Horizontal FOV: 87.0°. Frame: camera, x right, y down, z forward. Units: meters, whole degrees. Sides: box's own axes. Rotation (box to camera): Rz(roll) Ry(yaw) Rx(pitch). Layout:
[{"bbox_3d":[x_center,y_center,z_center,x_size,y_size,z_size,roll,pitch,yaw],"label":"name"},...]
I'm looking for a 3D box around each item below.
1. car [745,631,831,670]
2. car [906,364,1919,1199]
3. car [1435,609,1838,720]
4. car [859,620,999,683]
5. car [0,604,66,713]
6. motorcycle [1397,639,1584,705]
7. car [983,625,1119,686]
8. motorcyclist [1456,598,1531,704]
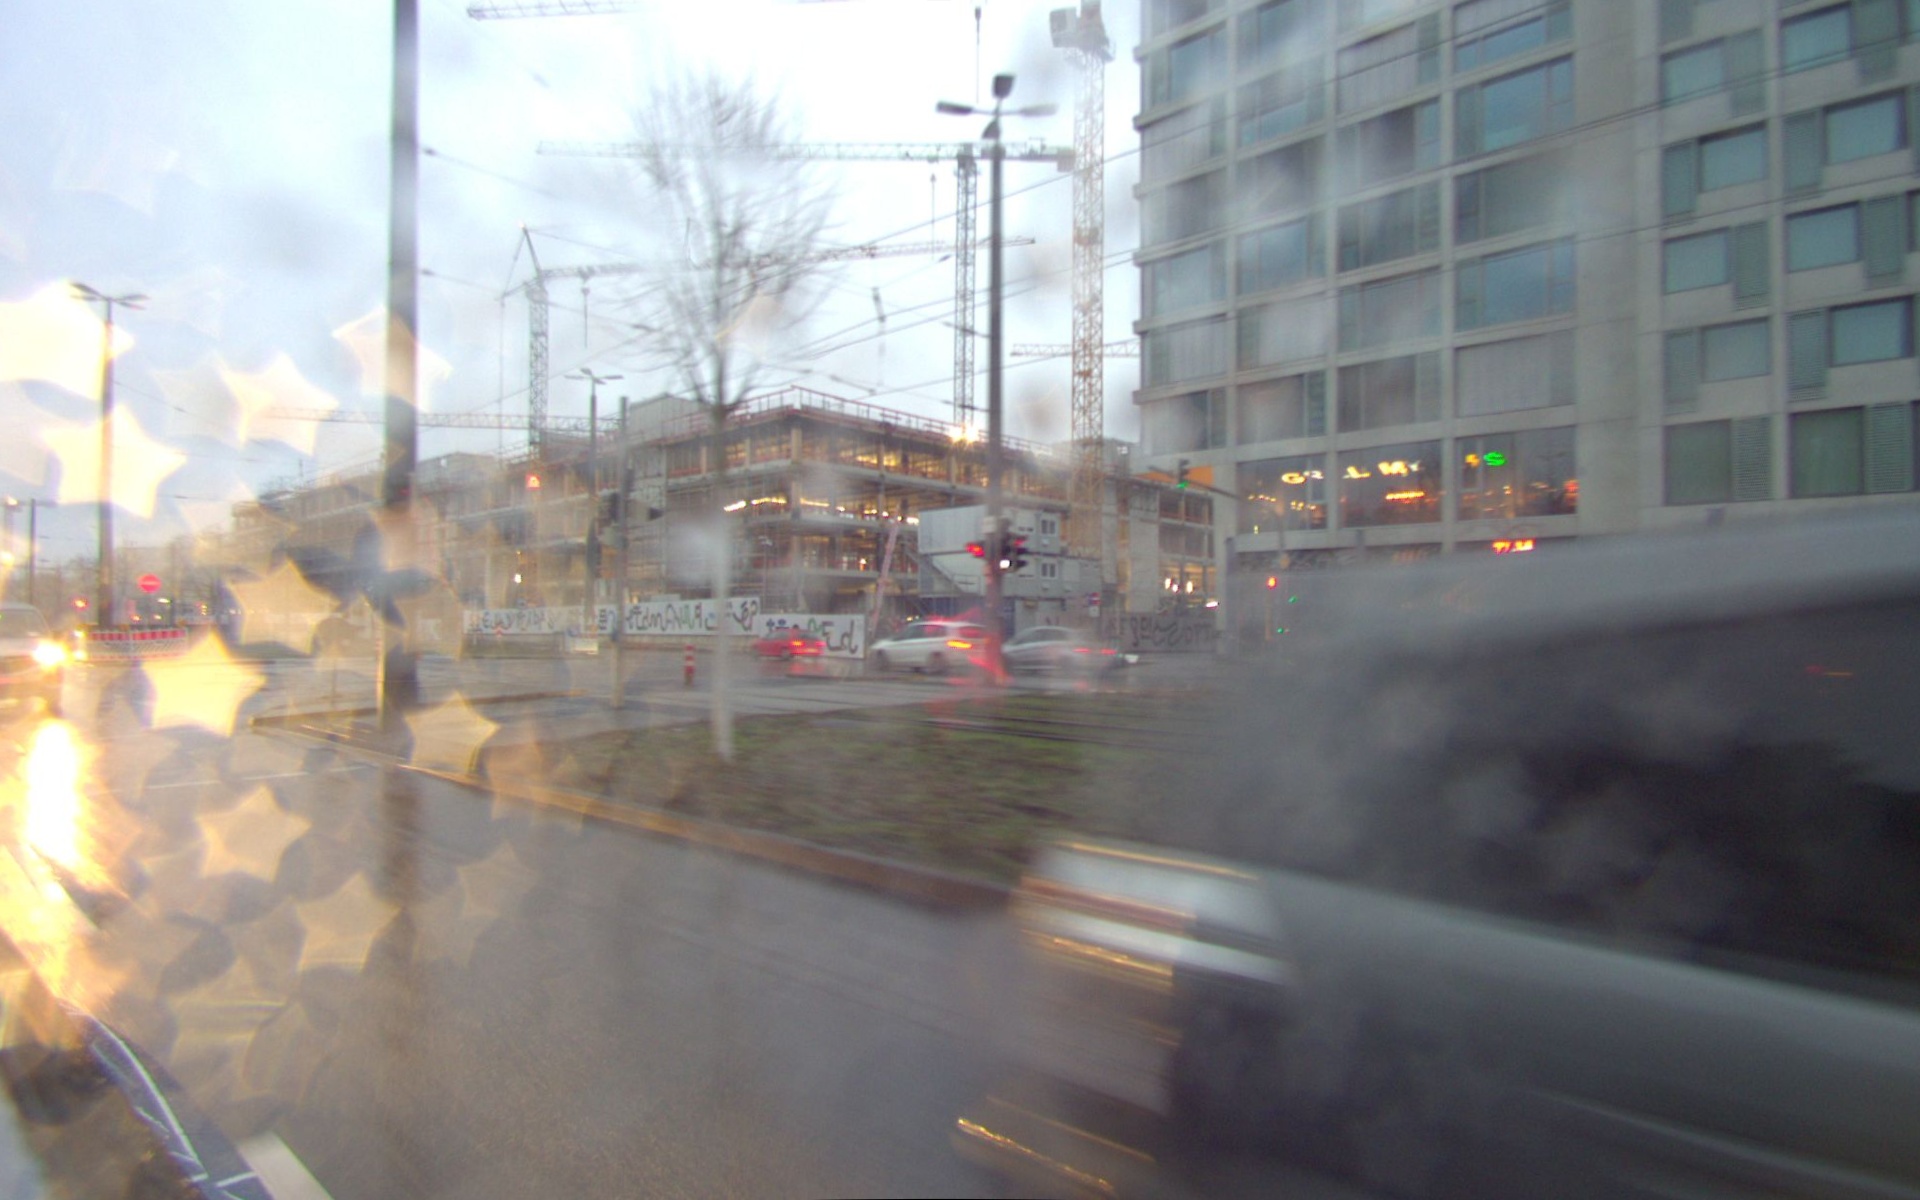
[{"bbox_3d":[-7.690,2.211,44.946,1.859,1.586,4.004,0,-1,-43],"label":"car"},{"bbox_3d":[1.996,0.608,0.811,3.998,1.606,1.741,-1,-1,41],"label":"car"},{"bbox_3d":[10.550,0.916,16.073,5.093,1.473,1.973,-1,-1,41],"label":"car"},{"bbox_3d":[-1.055,1.559,32.160,1.859,1.803,4.602,0,-1,-44],"label":"car"},{"bbox_3d":[-16.970,0.967,17.513,3.999,1.746,1.833,-1,-1,42],"label":"car"},{"bbox_3d":[9.839,1.302,18.878,2.965,1.064,0.862,-1,-1,41],"label":"motorcycle"},{"bbox_3d":[2.925,1.760,33.034,4.176,1.803,1.861,-1,-1,43],"label":"car"},{"bbox_3d":[9.922,0.926,18.818,1.033,1.900,0.862,-1,-1,41],"label":"motorcyclist"}]
